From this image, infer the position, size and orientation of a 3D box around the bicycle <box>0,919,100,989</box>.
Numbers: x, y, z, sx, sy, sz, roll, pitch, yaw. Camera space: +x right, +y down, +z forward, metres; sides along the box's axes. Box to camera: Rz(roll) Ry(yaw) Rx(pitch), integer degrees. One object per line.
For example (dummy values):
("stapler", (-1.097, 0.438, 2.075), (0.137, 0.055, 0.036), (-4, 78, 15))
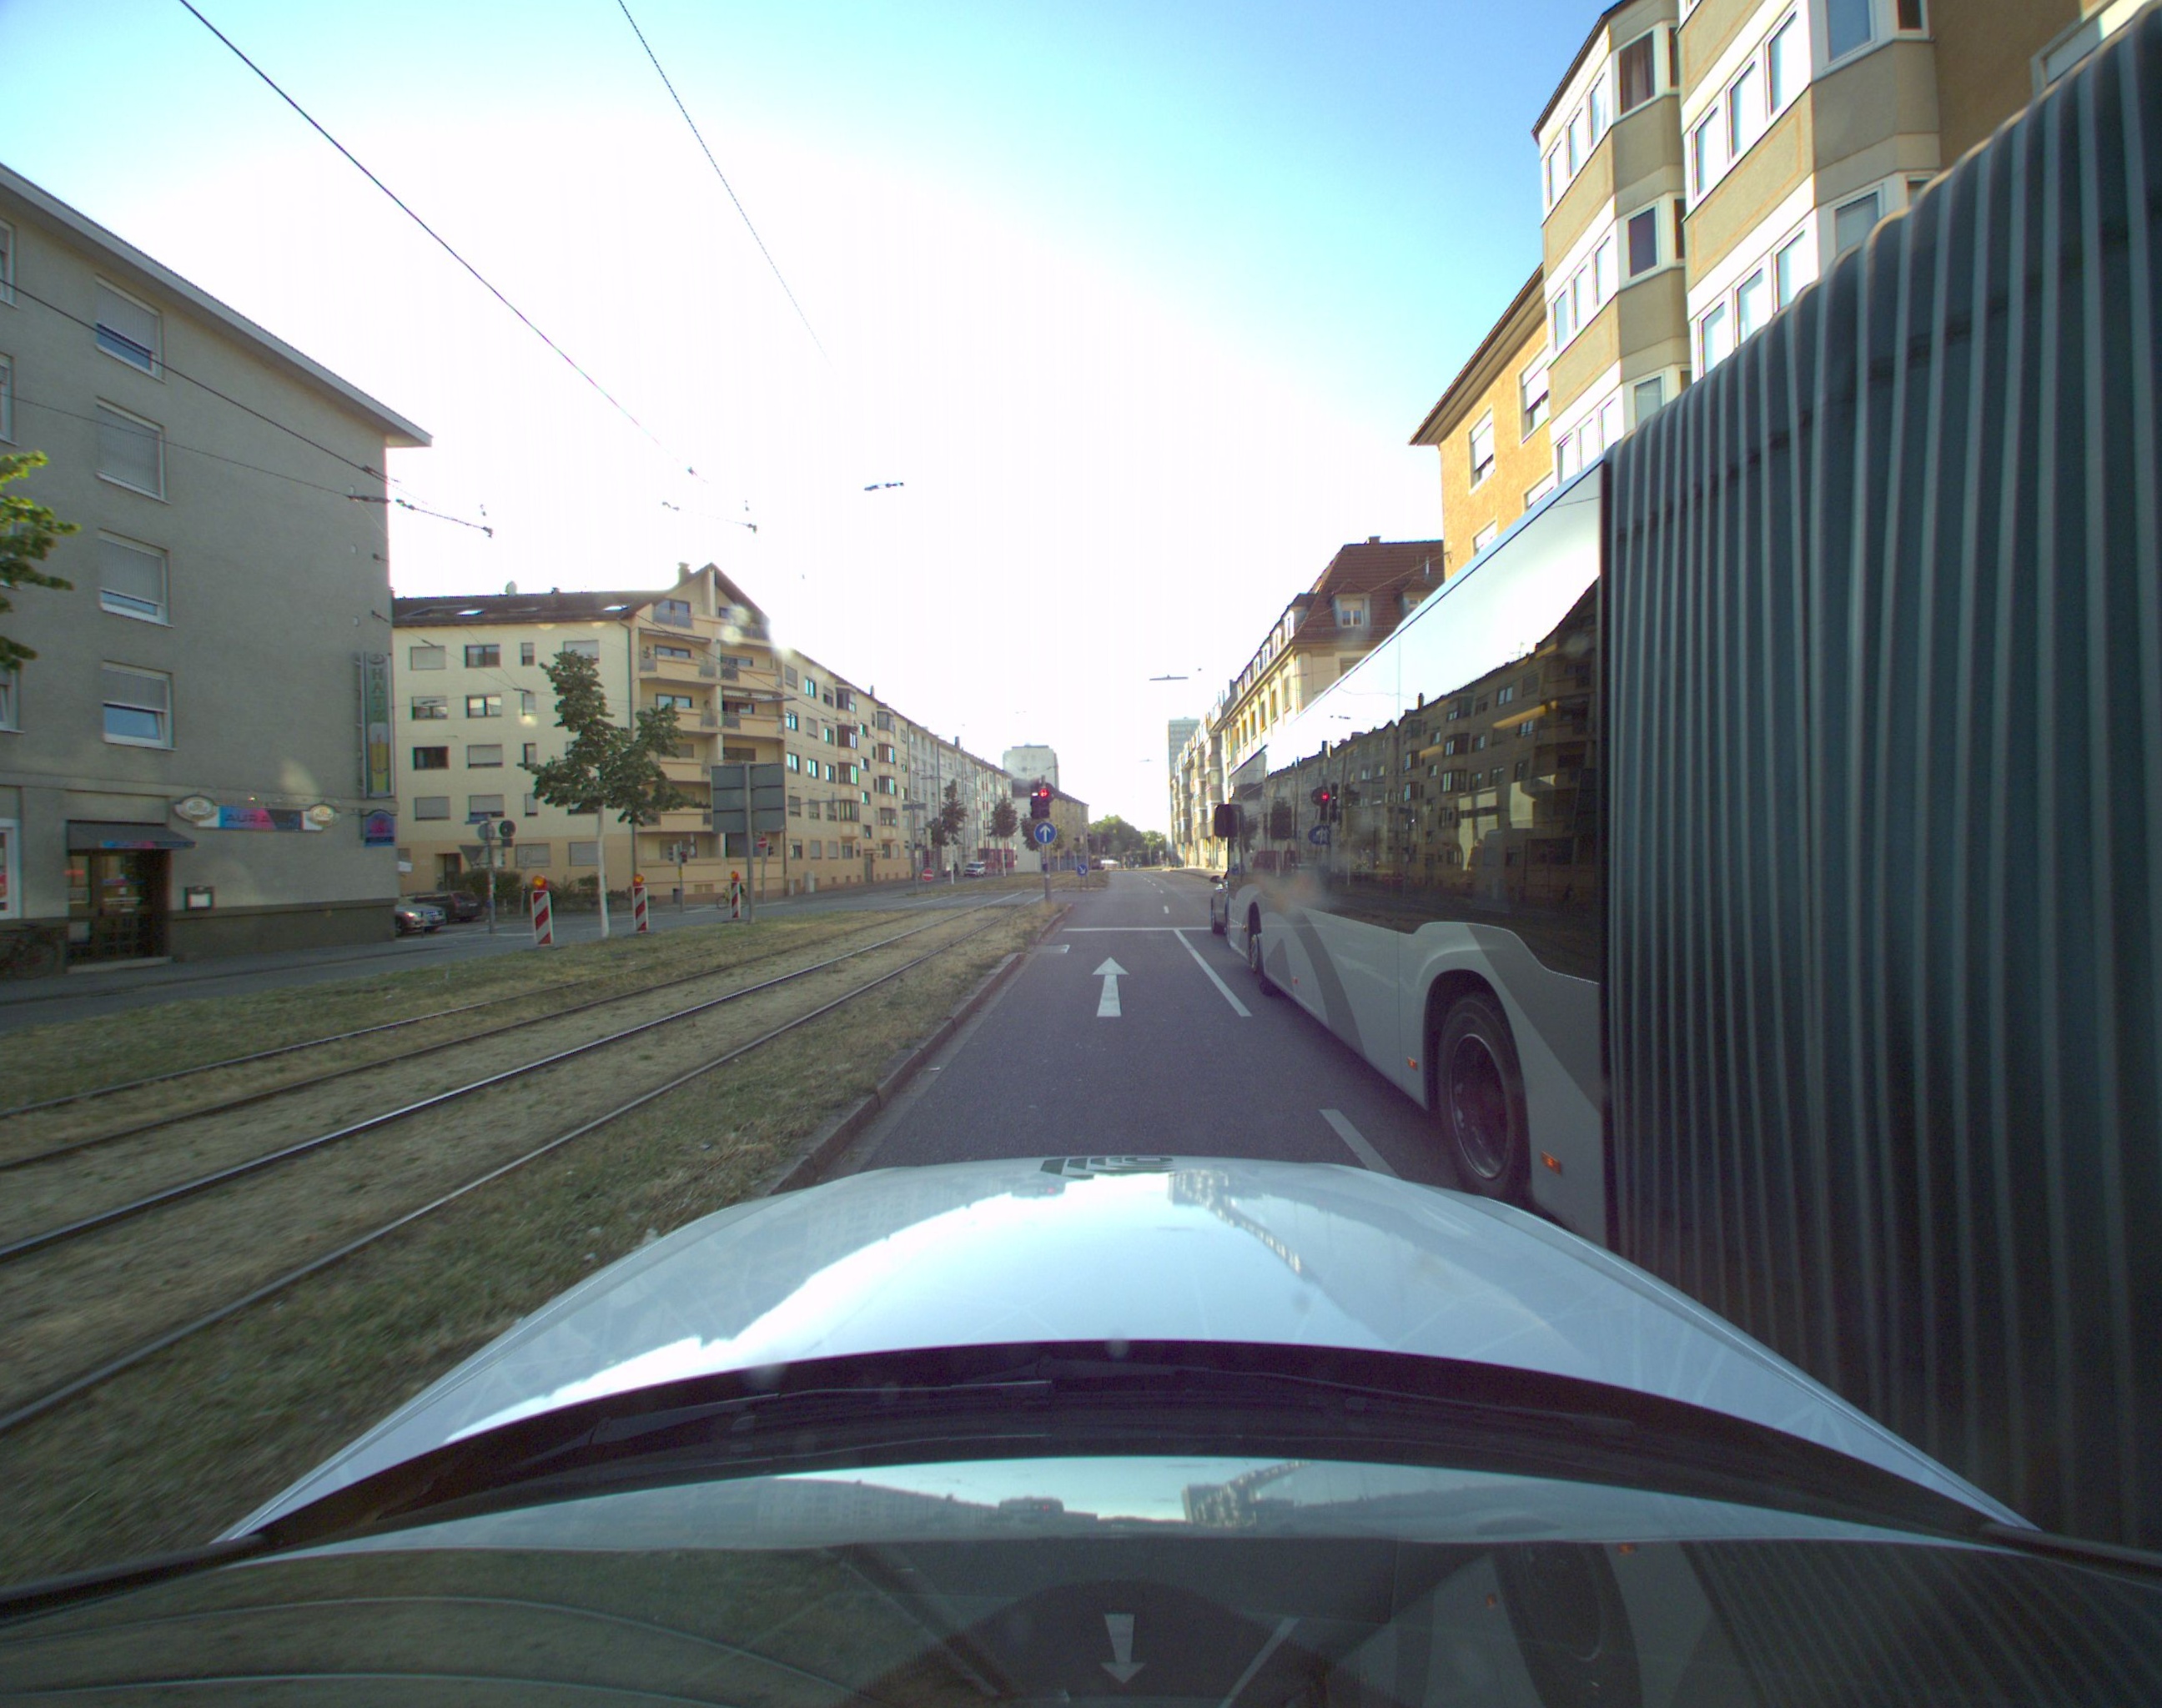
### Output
("bicycle", (-19.394, 1.832, 14.874), (0.744, 1.115, 1.779), (-3, -1, 2))

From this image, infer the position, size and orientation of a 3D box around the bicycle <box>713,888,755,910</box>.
("bicycle", (-17.032, 2.197, 40.008), (0.522, 0.984, 1.895), (-3, -1, 33))

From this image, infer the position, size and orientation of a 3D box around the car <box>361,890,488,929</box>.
("car", (-29.132, 2.445, 36.236), (3.955, 1.440, 1.786), (-3, -1, -8))

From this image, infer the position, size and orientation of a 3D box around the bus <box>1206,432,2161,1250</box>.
("bus", (3.065, -0.013, 7.638), (2.728, 3.056, 9.136), (-1, 0, 2))

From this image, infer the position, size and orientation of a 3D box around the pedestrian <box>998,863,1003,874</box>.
("pedestrian", (-11.744, 2.117, 118.870), (0.493, 1.658, 0.409), (-3, -1, 3))

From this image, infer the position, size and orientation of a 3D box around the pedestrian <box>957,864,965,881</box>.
("pedestrian", (-14.248, 2.233, 96.809), (0.784, 2.014, 0.890), (-2, -1, -1))

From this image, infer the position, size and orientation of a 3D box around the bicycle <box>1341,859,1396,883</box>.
("bicycle", (11.818, 0.696, 33.492), (1.977, 0.894, 0.784), (-3, -1, -8))

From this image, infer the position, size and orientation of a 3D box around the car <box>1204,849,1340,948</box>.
("car", (3.481, 0.750, 15.579), (1.763, 1.575, 4.088), (-3, -1, 2))

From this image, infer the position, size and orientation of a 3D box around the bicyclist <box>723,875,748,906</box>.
("bicyclist", (-17.006, 1.795, 40.066), (0.522, 1.447, 0.971), (-3, -1, 33))

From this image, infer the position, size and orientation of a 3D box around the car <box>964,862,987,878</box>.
("car", (-12.487, 1.862, 96.565), (1.804, 1.798, 4.249), (-1, -1, 4))

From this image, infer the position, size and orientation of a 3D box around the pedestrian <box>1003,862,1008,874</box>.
("pedestrian", (-11.015, 2.013, 119.010), (0.493, 1.658, 0.409), (-3, -1, 3))

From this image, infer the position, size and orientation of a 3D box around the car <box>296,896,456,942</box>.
("car", (-25.899, 2.349, 30.035), (4.105, 1.388, 1.761), (-2, -1, -8))
